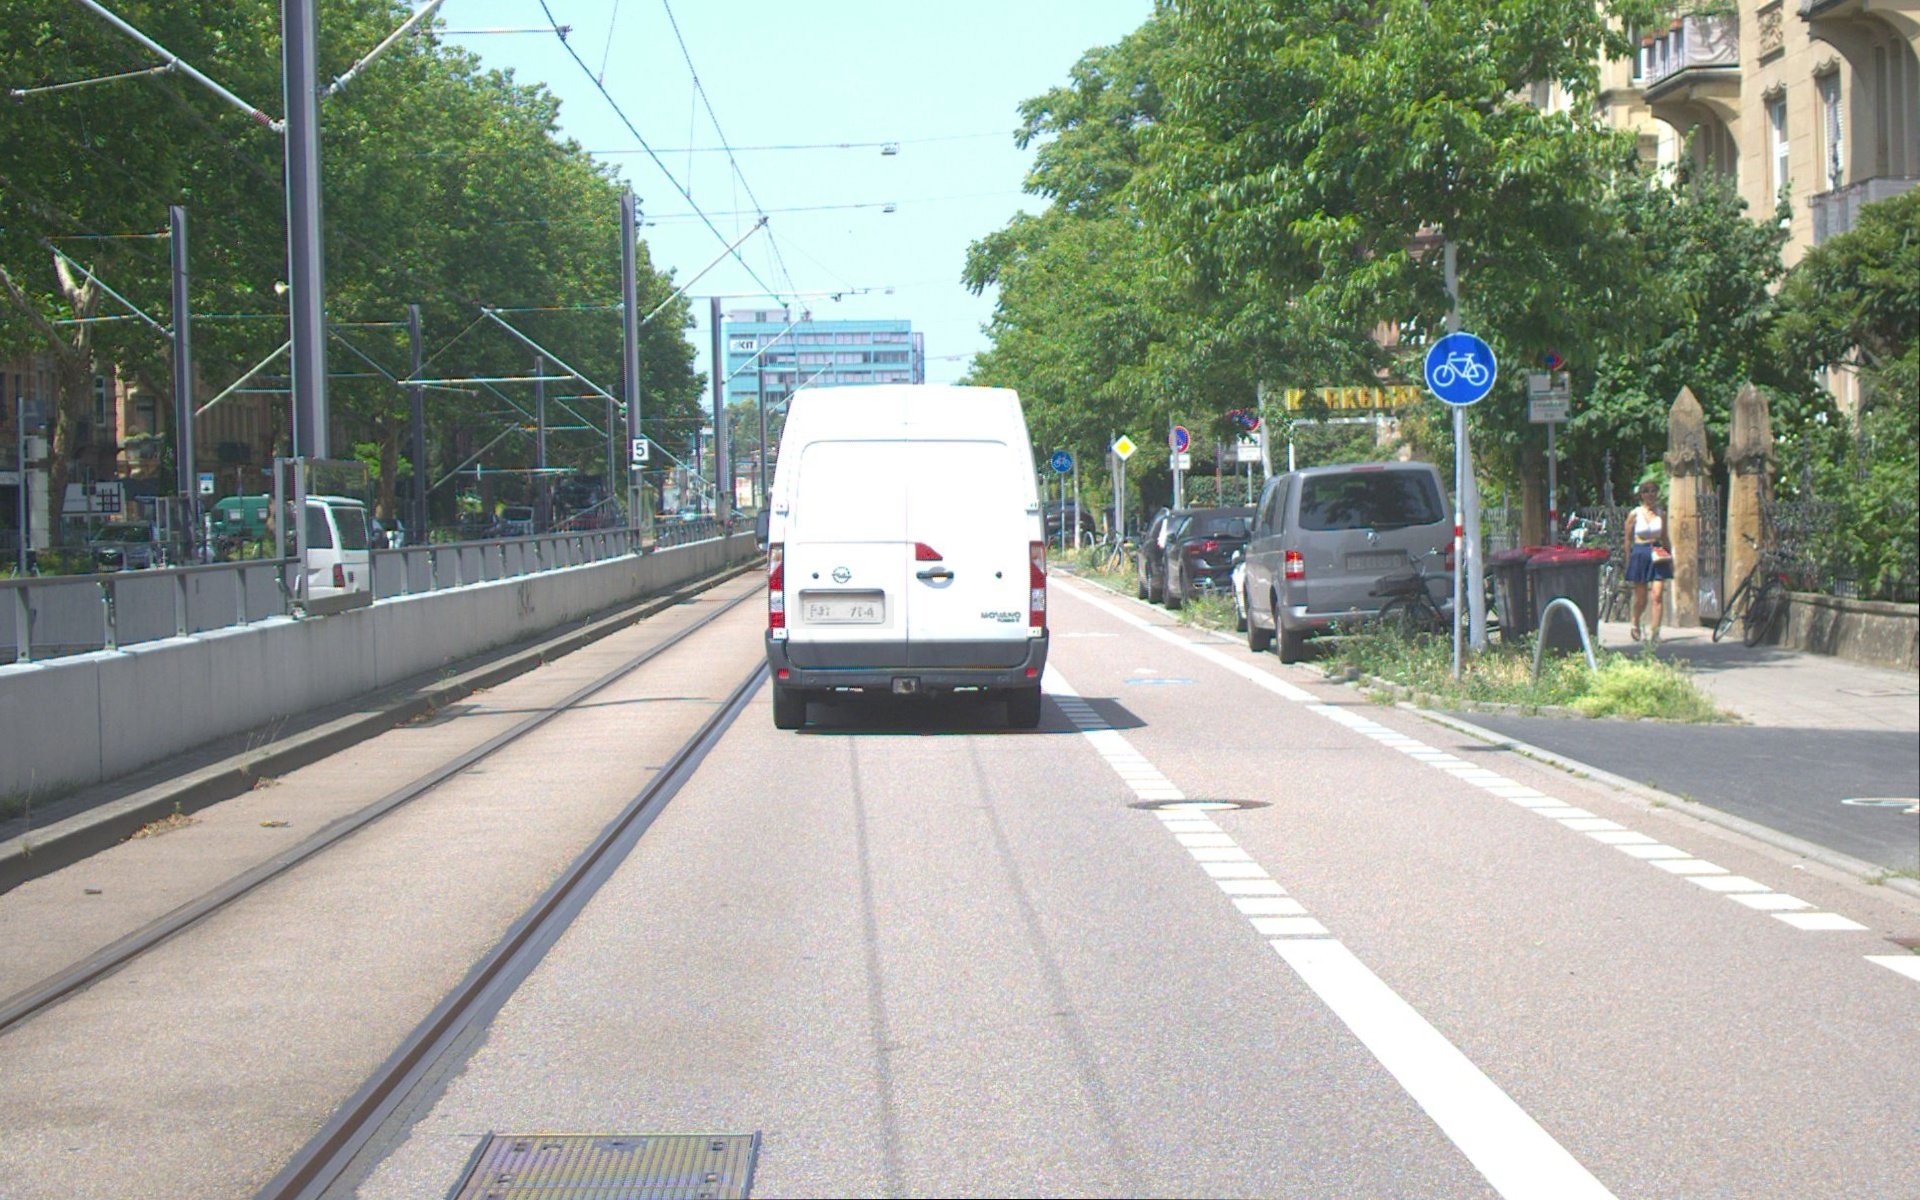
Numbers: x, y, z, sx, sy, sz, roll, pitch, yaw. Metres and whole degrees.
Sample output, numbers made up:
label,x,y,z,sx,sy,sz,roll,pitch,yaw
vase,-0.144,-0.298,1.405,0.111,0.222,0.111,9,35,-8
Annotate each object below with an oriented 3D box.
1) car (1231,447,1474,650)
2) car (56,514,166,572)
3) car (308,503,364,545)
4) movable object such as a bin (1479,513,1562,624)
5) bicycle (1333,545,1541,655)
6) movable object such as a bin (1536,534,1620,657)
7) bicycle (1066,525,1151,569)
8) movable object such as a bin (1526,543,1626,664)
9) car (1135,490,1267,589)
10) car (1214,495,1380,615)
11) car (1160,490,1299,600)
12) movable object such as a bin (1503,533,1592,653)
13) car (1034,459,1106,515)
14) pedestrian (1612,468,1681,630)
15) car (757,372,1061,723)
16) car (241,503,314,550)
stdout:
label,x,y,z,sx,sy,sz,roll,pitch,yaw
car,4.084,-0.589,36.505,1.879,1.941,4.837,-2,2,-1
car,-21.556,-1.473,87.424,1.852,1.396,4.198,-1,2,-2
car,-21.636,-2.634,119.242,1.373,1.419,3.088,-1,2,0
movable object such as a bin,5.165,-0.296,31.710,0.595,1.007,0.566,-1,2,-11
bicycle,4.501,-0.007,32.470,1.880,0.988,0.470,-1,2,-10
movable object such as a bin,5.445,-0.045,30.313,0.669,1.058,0.496,-1,2,5
bicycle,3.284,-1.176,76.136,1.842,0.950,0.503,-1,2,1
movable object such as a bin,5.315,0.026,29.690,0.787,1.010,0.650,-1,2,5
car,3.895,-1.026,56.114,1.729,1.530,4.405,-1,2,-1
car,4.212,-0.599,43.456,1.611,1.401,4.001,-1,2,-1
car,3.961,-0.845,51.085,1.667,1.525,4.013,-1,2,-1
movable object such as a bin,5.284,-0.062,30.944,0.746,1.058,0.496,0,2,5
car,3.367,-3.484,105.830,2.157,1.664,4.000,-1,2,1
pedestrian,6.859,-0.516,34.382,0.552,1.592,0.728,-1,2,1
car,-0.448,-0.450,26.799,2.117,2.450,5.055,-1,2,-2
car,-22.165,-2.403,111.692,1.592,1.443,4.001,-1,2,-1
